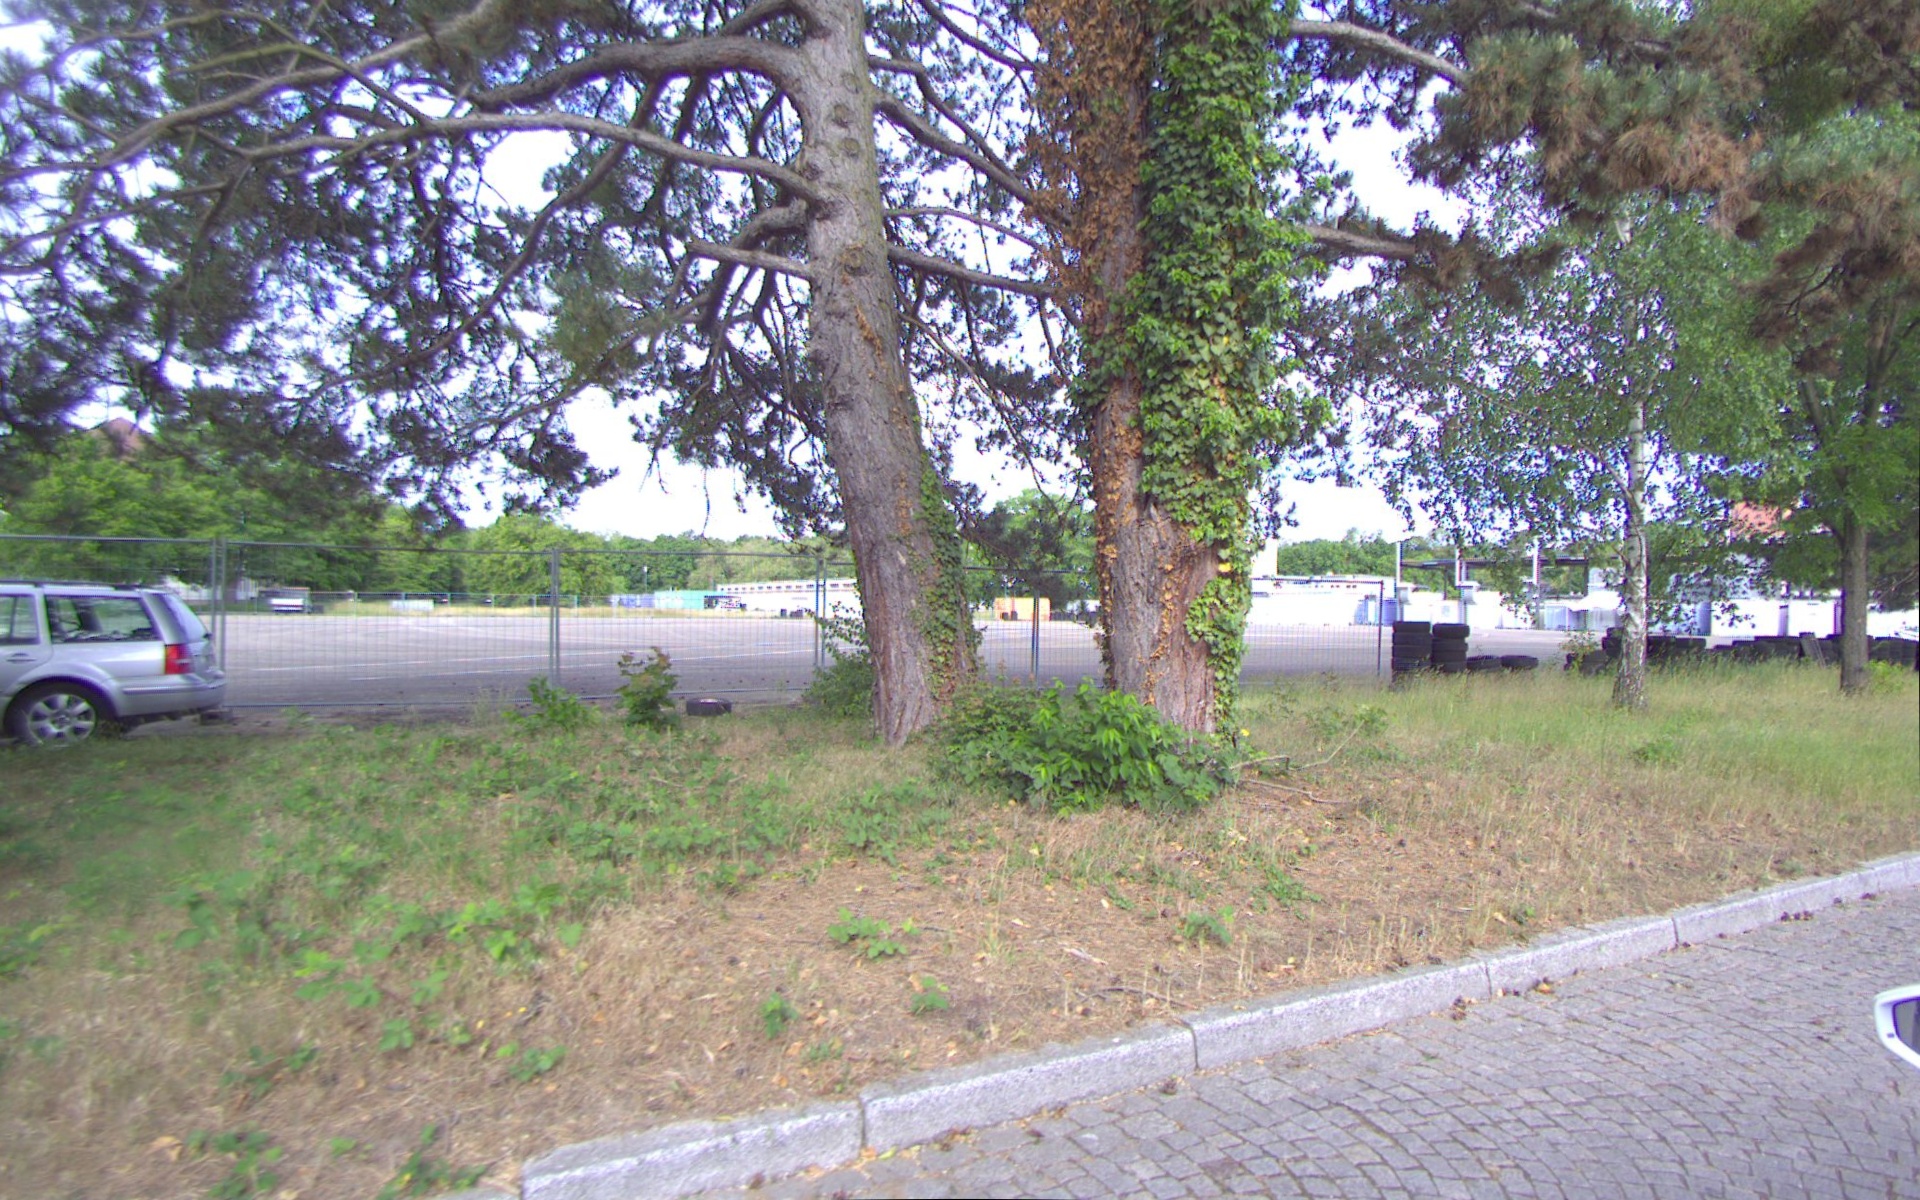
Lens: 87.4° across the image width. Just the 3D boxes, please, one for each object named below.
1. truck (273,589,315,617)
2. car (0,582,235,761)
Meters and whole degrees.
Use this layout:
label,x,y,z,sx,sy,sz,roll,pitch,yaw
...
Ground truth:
label,x,y,z,sx,sy,sz,roll,pitch,yaw
truck,-56.587,0.263,85.425,2.345,2.227,6.506,1,0,-28
car,-8.945,0.572,8.488,4.416,1.457,1.706,1,0,-31
